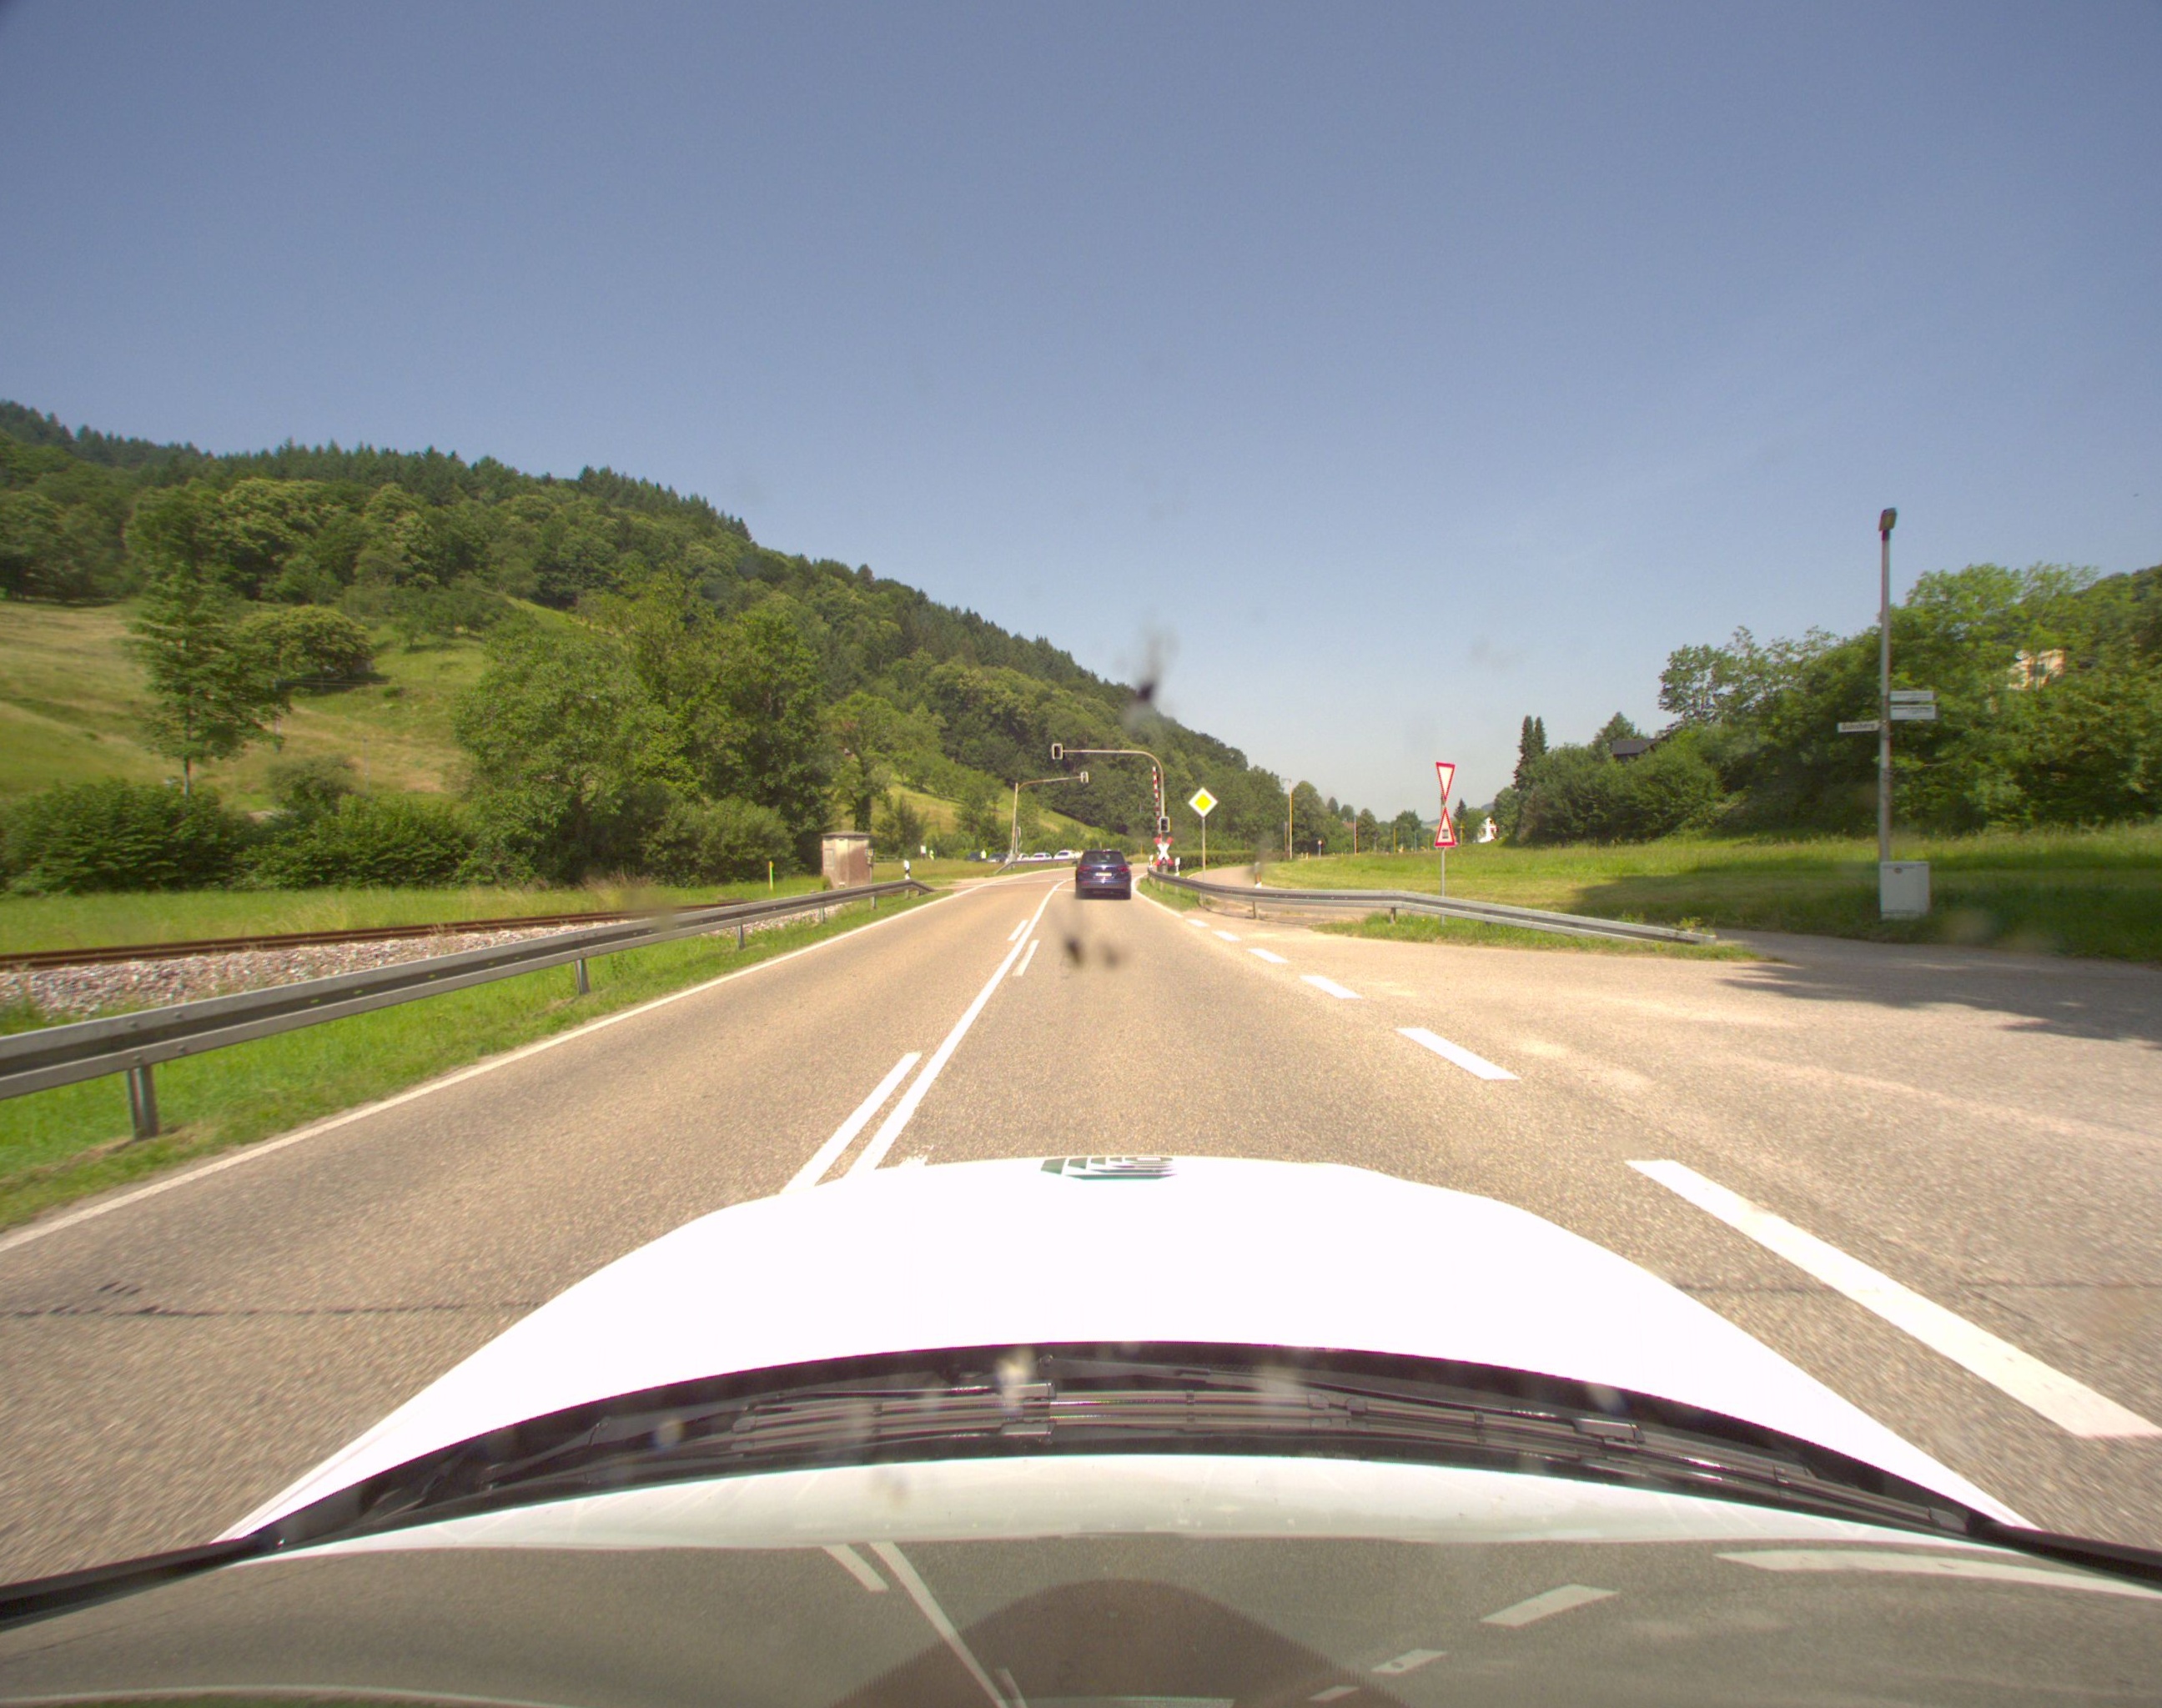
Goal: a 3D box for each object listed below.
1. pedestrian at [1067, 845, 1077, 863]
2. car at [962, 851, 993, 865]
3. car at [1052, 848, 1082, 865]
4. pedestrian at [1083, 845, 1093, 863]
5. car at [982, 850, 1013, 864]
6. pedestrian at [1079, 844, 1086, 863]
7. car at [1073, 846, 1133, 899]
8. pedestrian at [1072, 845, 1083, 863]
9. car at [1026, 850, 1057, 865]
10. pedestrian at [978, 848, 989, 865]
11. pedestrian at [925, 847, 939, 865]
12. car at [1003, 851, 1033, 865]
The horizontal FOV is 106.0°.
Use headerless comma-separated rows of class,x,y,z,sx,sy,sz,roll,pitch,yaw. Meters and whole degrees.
pedestrian,-0.943,-0.007,83.281,0.780,1.842,0.703,-1,0,27
car,-11.848,0.428,93.447,1.979,1.500,4.539,-2,0,14
car,-1.541,0.266,91.505,1.855,1.782,4.795,-1,0,19
pedestrian,0.751,0.016,84.194,0.775,1.859,0.641,-1,-1,-40
car,-9.476,0.304,92.720,1.979,1.500,4.539,1,0,14
pedestrian,0.142,-0.064,83.717,0.657,1.955,0.534,-2,0,6
car,0.716,0.574,27.529,1.846,1.649,4.140,1,0,1
pedestrian,-0.325,0.025,84.382,0.761,1.796,0.799,-2,-1,43
car,-4.426,0.364,91.646,1.978,1.641,4.923,-2,0,16
pedestrian,-10.335,0.224,86.302,0.948,1.794,1.002,-1,0,8
pedestrian,-16.267,0.238,88.880,1.115,1.969,0.867,-2,-1,31
car,-7.085,0.482,91.991,1.979,1.500,4.539,-2,0,14
